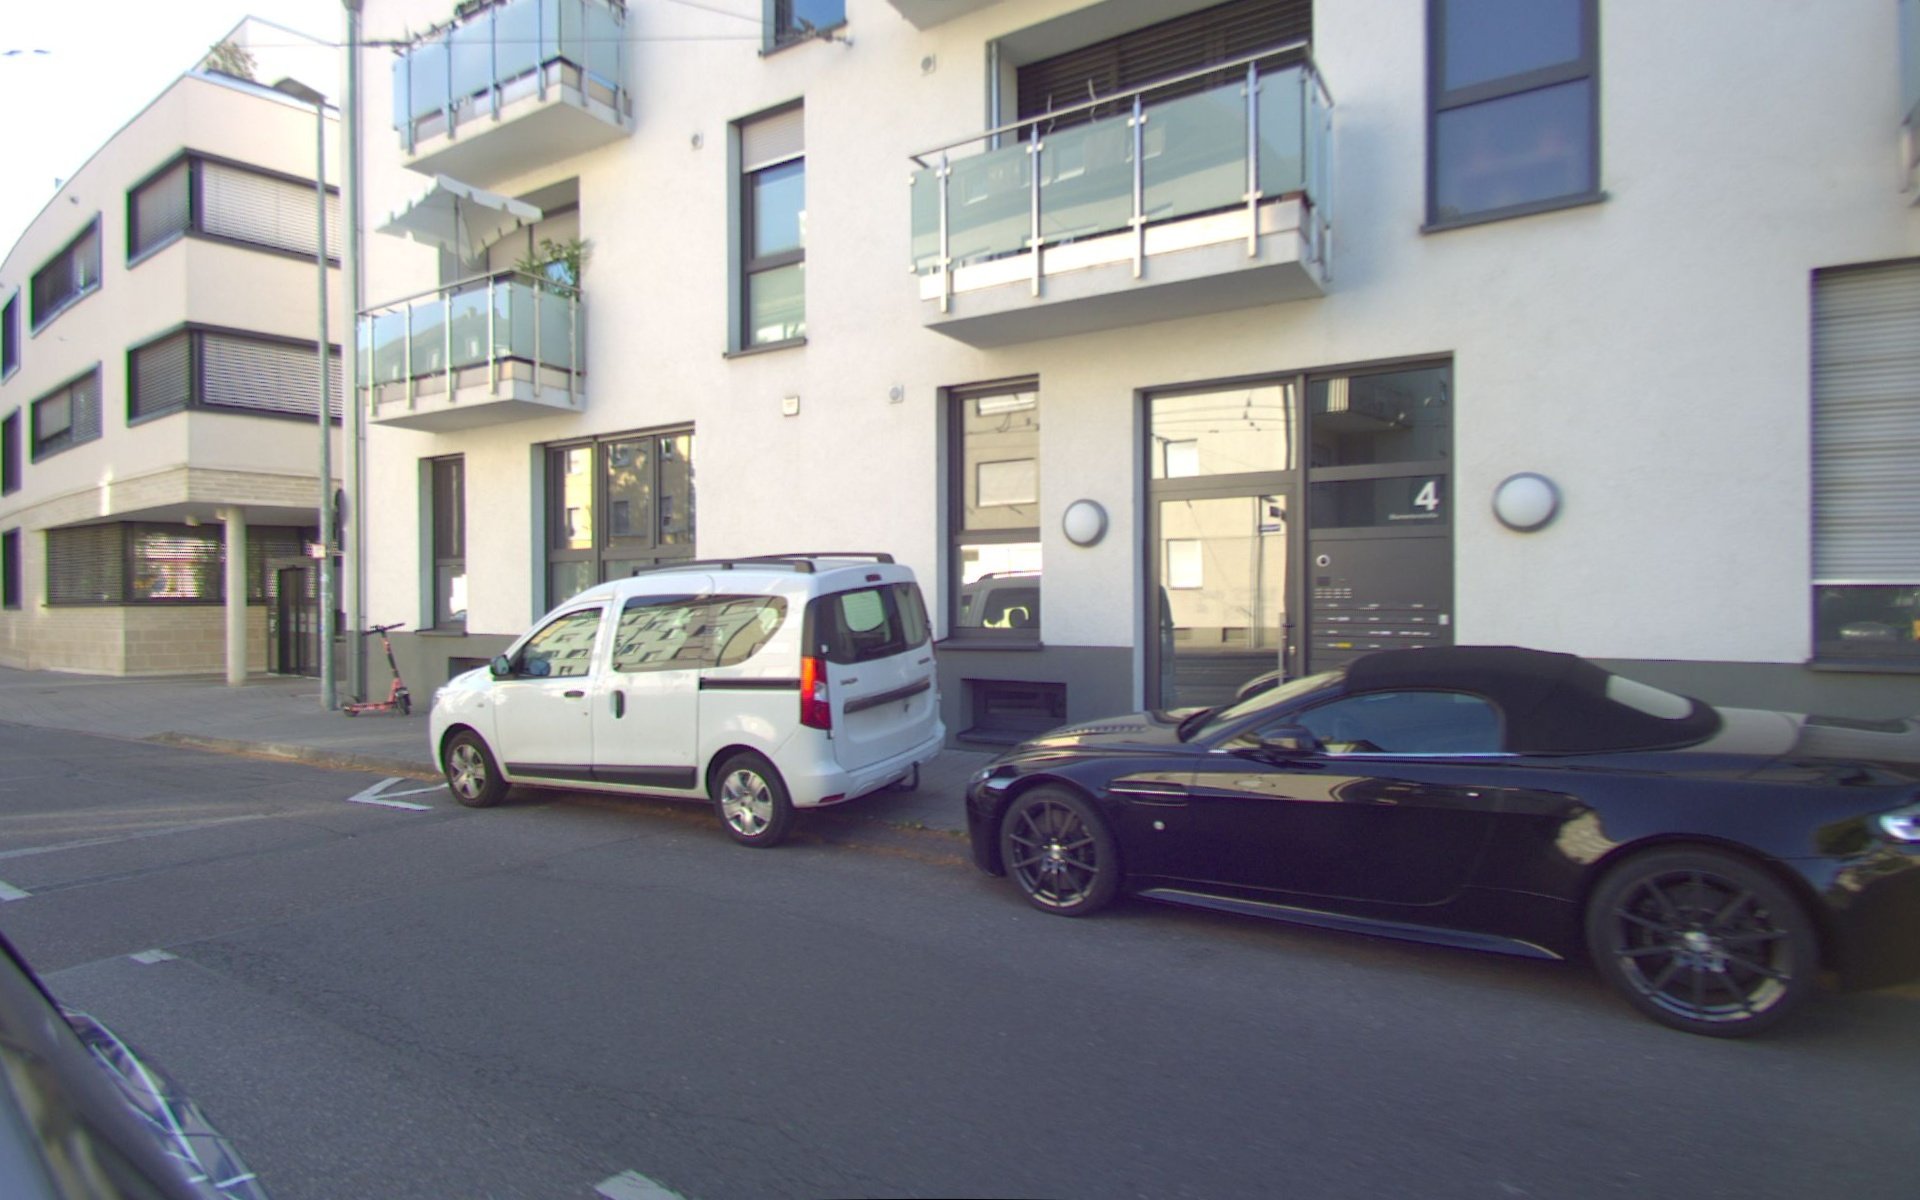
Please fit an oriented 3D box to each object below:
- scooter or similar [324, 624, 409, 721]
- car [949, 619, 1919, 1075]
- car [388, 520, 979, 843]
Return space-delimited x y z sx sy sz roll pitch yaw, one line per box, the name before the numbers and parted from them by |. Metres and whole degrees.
scooter or similar | -7.763 0.949 13.238 1.145 1.229 0.224 -2 0 18
car | 2.065 0.797 4.724 4.016 1.283 1.651 0 2 34
car | -2.179 0.452 7.730 4.314 1.883 1.799 0 2 29
